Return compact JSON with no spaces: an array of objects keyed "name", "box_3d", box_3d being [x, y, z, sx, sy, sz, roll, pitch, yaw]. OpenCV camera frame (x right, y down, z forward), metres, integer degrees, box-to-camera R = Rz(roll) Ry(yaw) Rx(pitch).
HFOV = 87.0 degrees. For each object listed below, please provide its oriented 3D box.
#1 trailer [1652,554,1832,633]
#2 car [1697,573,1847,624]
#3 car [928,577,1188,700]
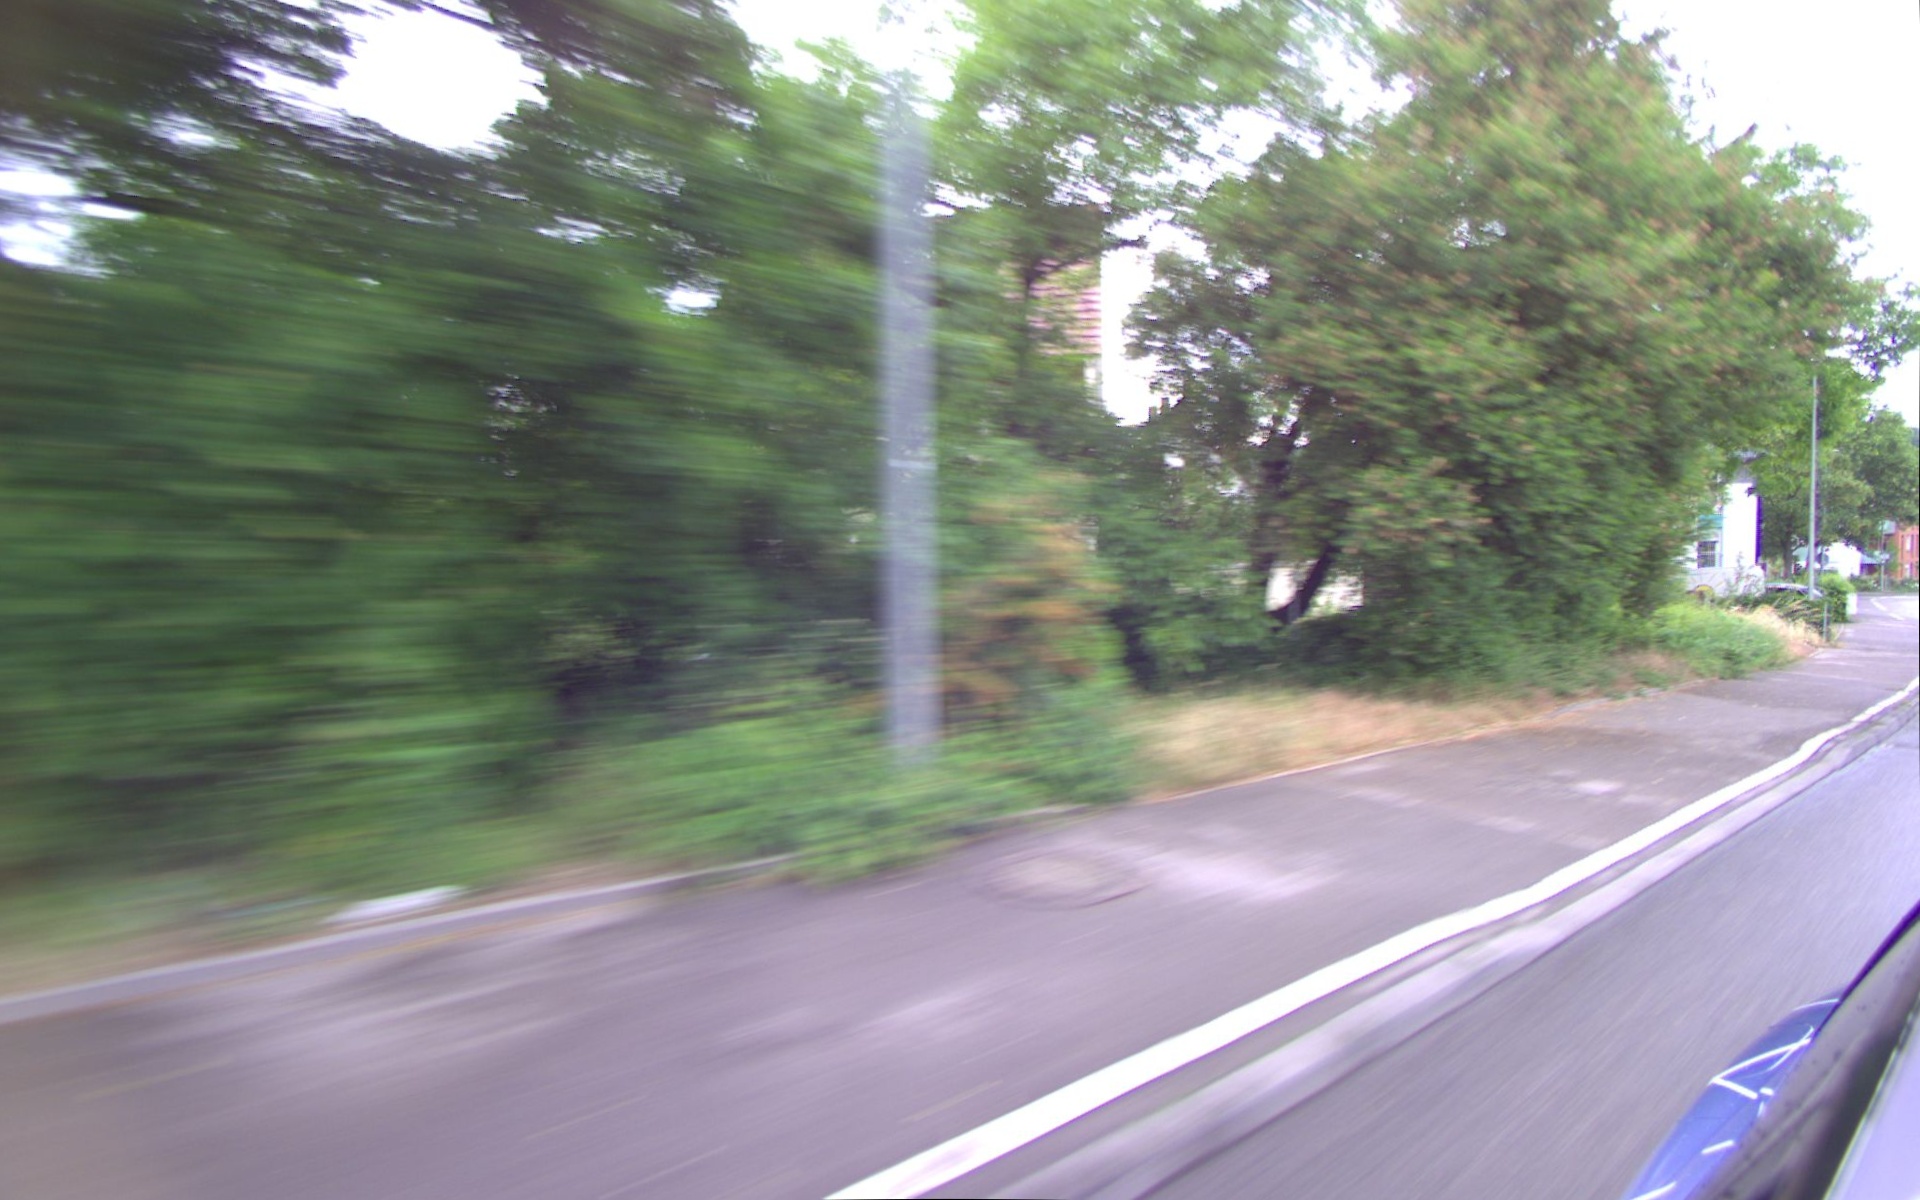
[{"name":"trailer","box_3d":[25.358,-0.243,33.046,4.522,2.430,1.924,1,1,36]},{"name":"car","box_3d":[30.412,-0.105,37.990,4.215,1.771,1.952,2,2,45]},{"name":"car","box_3d":[1.331,0.426,13.376,3.112,1.401,1.684,2,2,20]}]
